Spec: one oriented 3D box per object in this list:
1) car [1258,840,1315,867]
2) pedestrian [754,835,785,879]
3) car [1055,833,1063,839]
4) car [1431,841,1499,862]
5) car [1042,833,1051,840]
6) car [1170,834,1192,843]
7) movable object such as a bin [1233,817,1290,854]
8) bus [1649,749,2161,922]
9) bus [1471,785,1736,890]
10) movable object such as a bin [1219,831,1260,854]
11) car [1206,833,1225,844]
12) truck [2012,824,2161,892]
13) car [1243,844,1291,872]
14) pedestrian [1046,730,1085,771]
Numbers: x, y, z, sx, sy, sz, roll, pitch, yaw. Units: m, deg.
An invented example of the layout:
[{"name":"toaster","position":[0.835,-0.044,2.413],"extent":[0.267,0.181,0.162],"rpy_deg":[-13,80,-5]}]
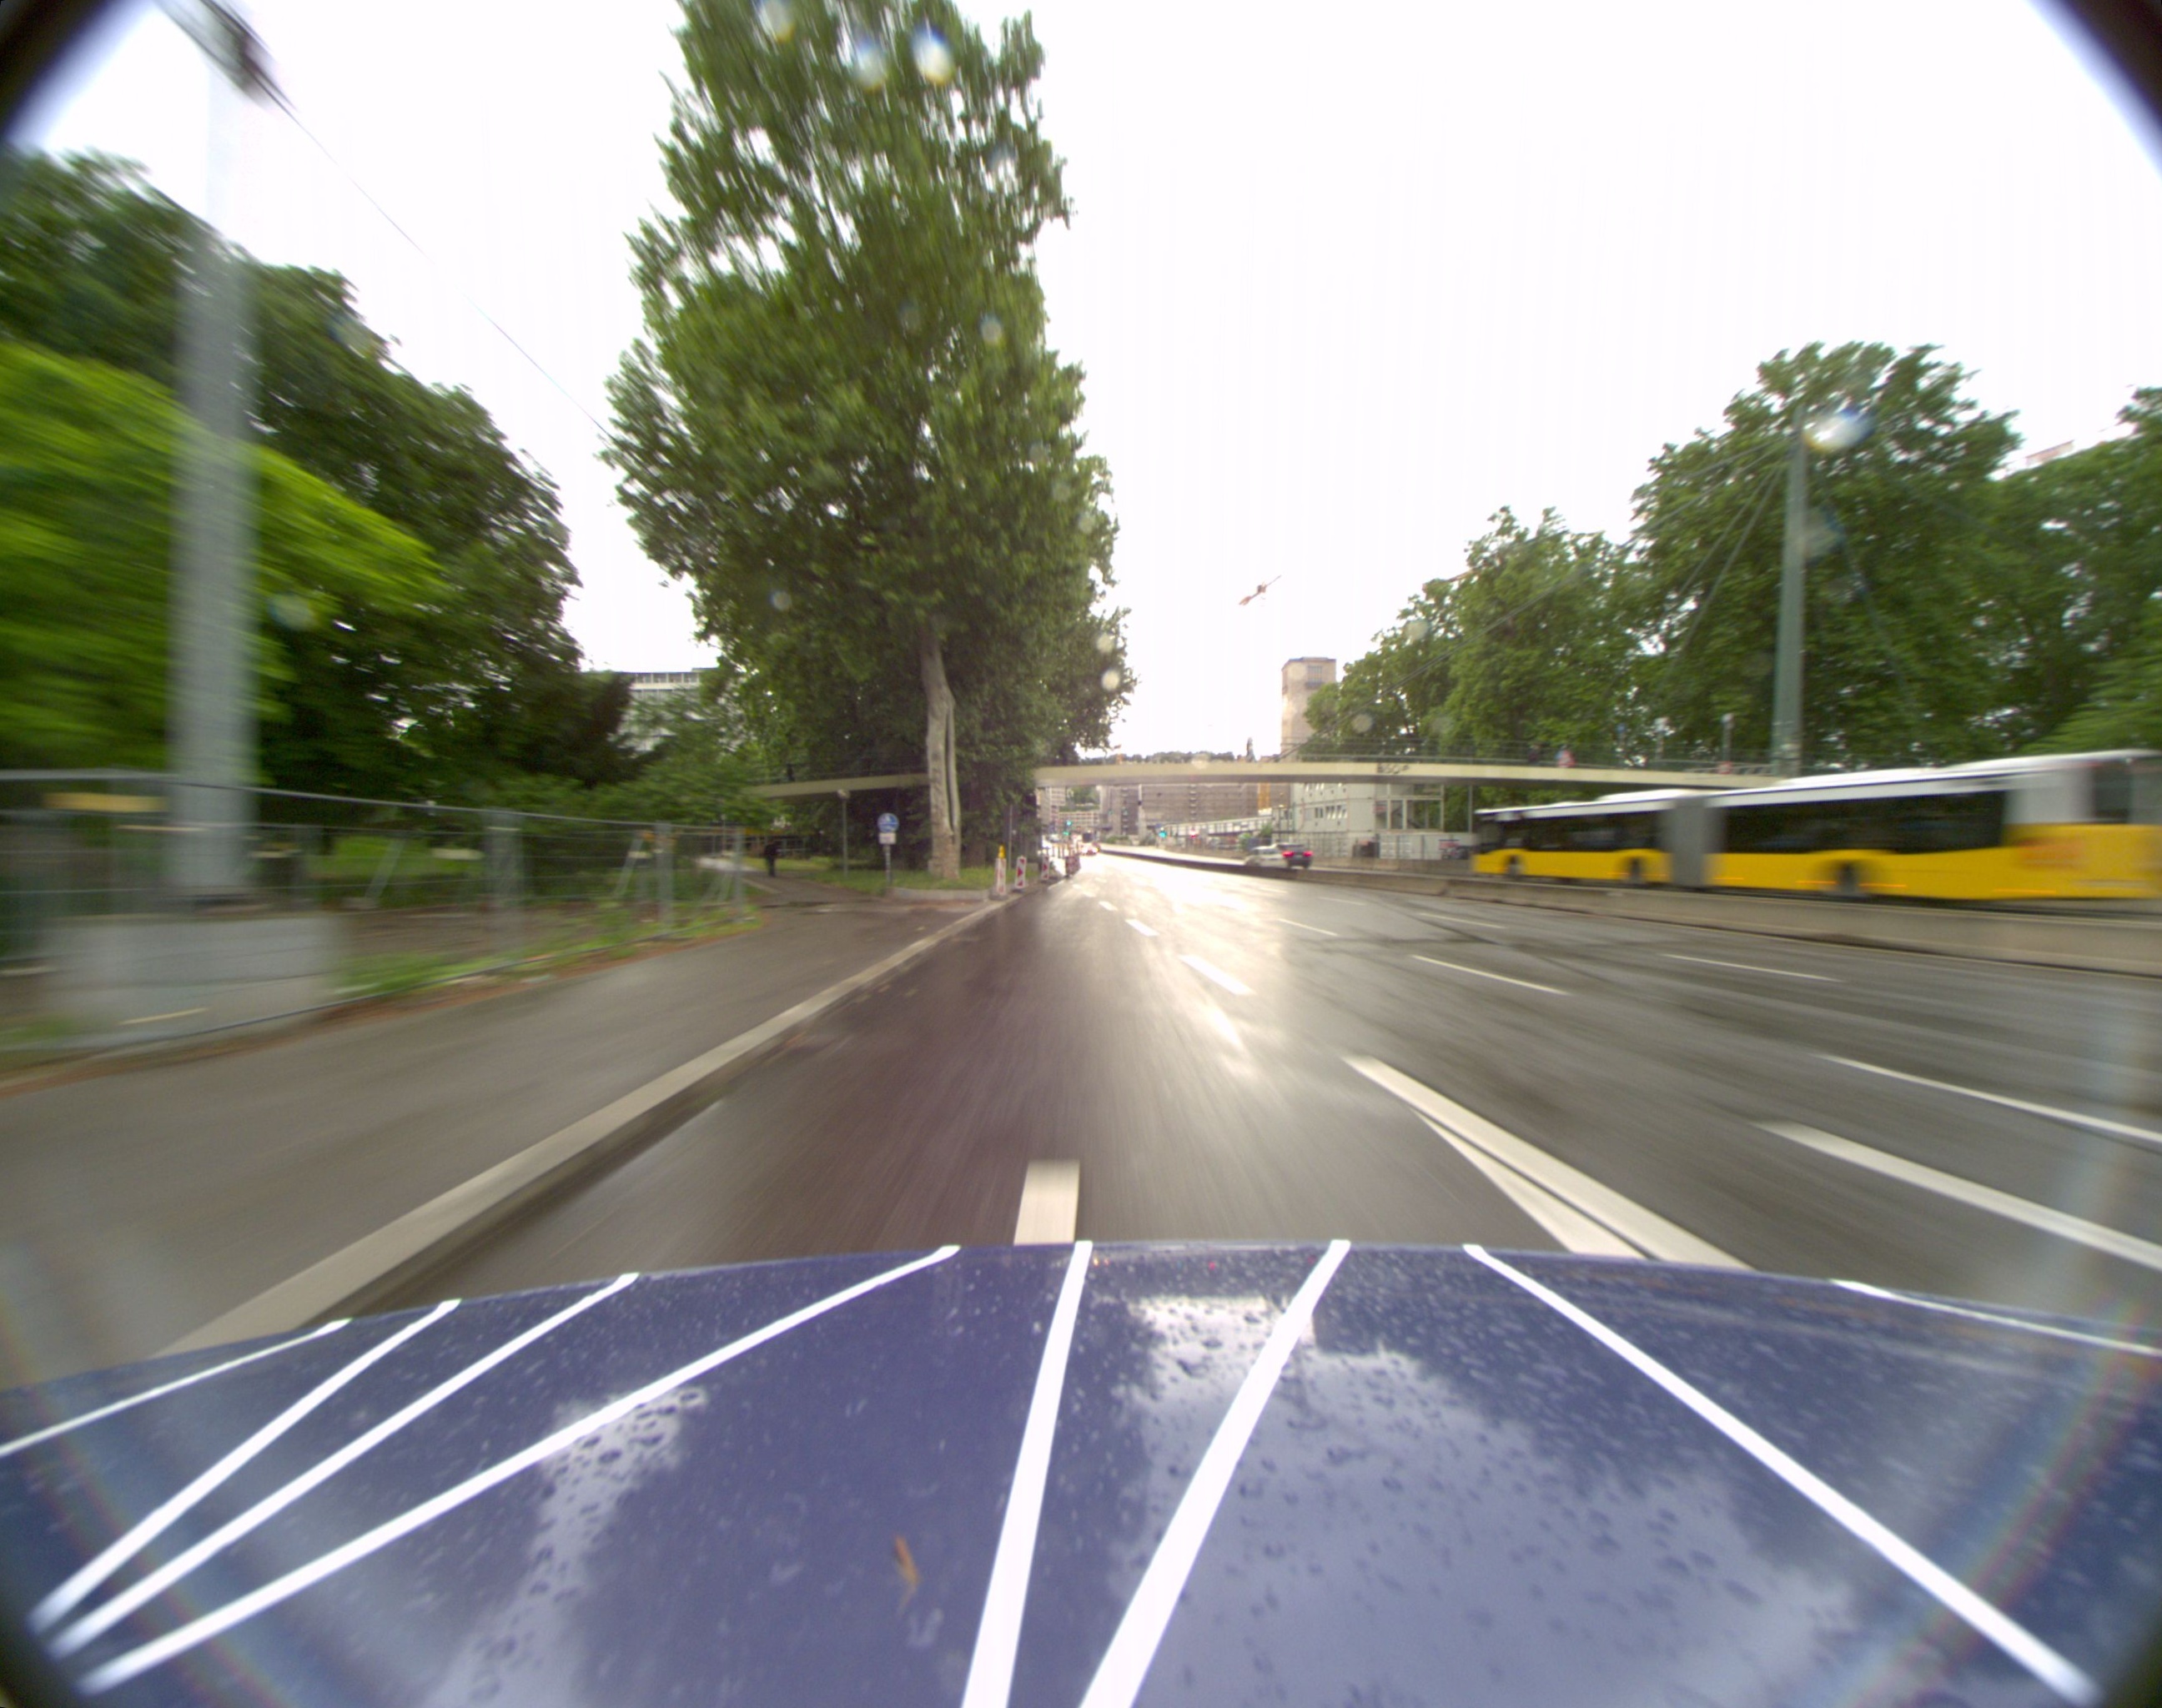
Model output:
[{"name":"car","position":[13.149,-0.050,48.930],"extent":[2.088,1.621,4.850],"rpy_deg":[0,1,-4]},{"name":"pedestrian","position":[-14.528,0.136,35.378],"extent":[1.054,2.002,1.036],"rpy_deg":[-1,1,-40]},{"name":"car","position":[-5.907,-4.745,202.043],"extent":[1.833,1.643,4.569],"rpy_deg":[1,2,-7]},{"name":"car","position":[28.141,-0.198,55.732],"extent":[3.999,1.436,1.998],"rpy_deg":[0,2,-6]},{"name":"car","position":[-9.254,-4.590,202.261],"extent":[2.000,1.804,4.289],"rpy_deg":[0,2,-6]},{"name":"car","position":[23.331,-3.684,177.764],"extent":[2.004,2.002,5.011],"rpy_deg":[-1,2,-43]},{"name":"movable object such as a bin","position":[23.953,-2.501,101.615],"extent":[4.765,4.776,8.350],"rpy_deg":[0,2,-7]},{"name":"bus","position":[18.841,-0.405,18.416],"extent":[2.711,3.133,9.144],"rpy_deg":[0,1,-5]},{"name":"bus","position":[18.126,-0.574,27.437],"extent":[2.814,3.166,8.801],"rpy_deg":[0,1,-5]},{"name":"movable object such as a bin","position":[22.974,-1.725,110.618],"extent":[3.944,3.111,6.381],"rpy_deg":[0,2,-7]},{"name":"car","position":[23.218,-2.672,131.013],"extent":[1.851,1.752,4.792],"rpy_deg":[0,2,-8]},{"name":"truck","position":[32.827,0.092,23.861],"extent":[5.265,2.002,2.161],"rpy_deg":[0,1,-10]},{"name":"car","position":[10.732,0.188,44.135],"extent":[1.714,1.481,3.448],"rpy_deg":[0,2,-4]},{"name":"pedestrian","position":[-0.817,-5.337,39.362],"extent":[1.991,2.003,1.111],"rpy_deg":[-1,2,-2]}]
